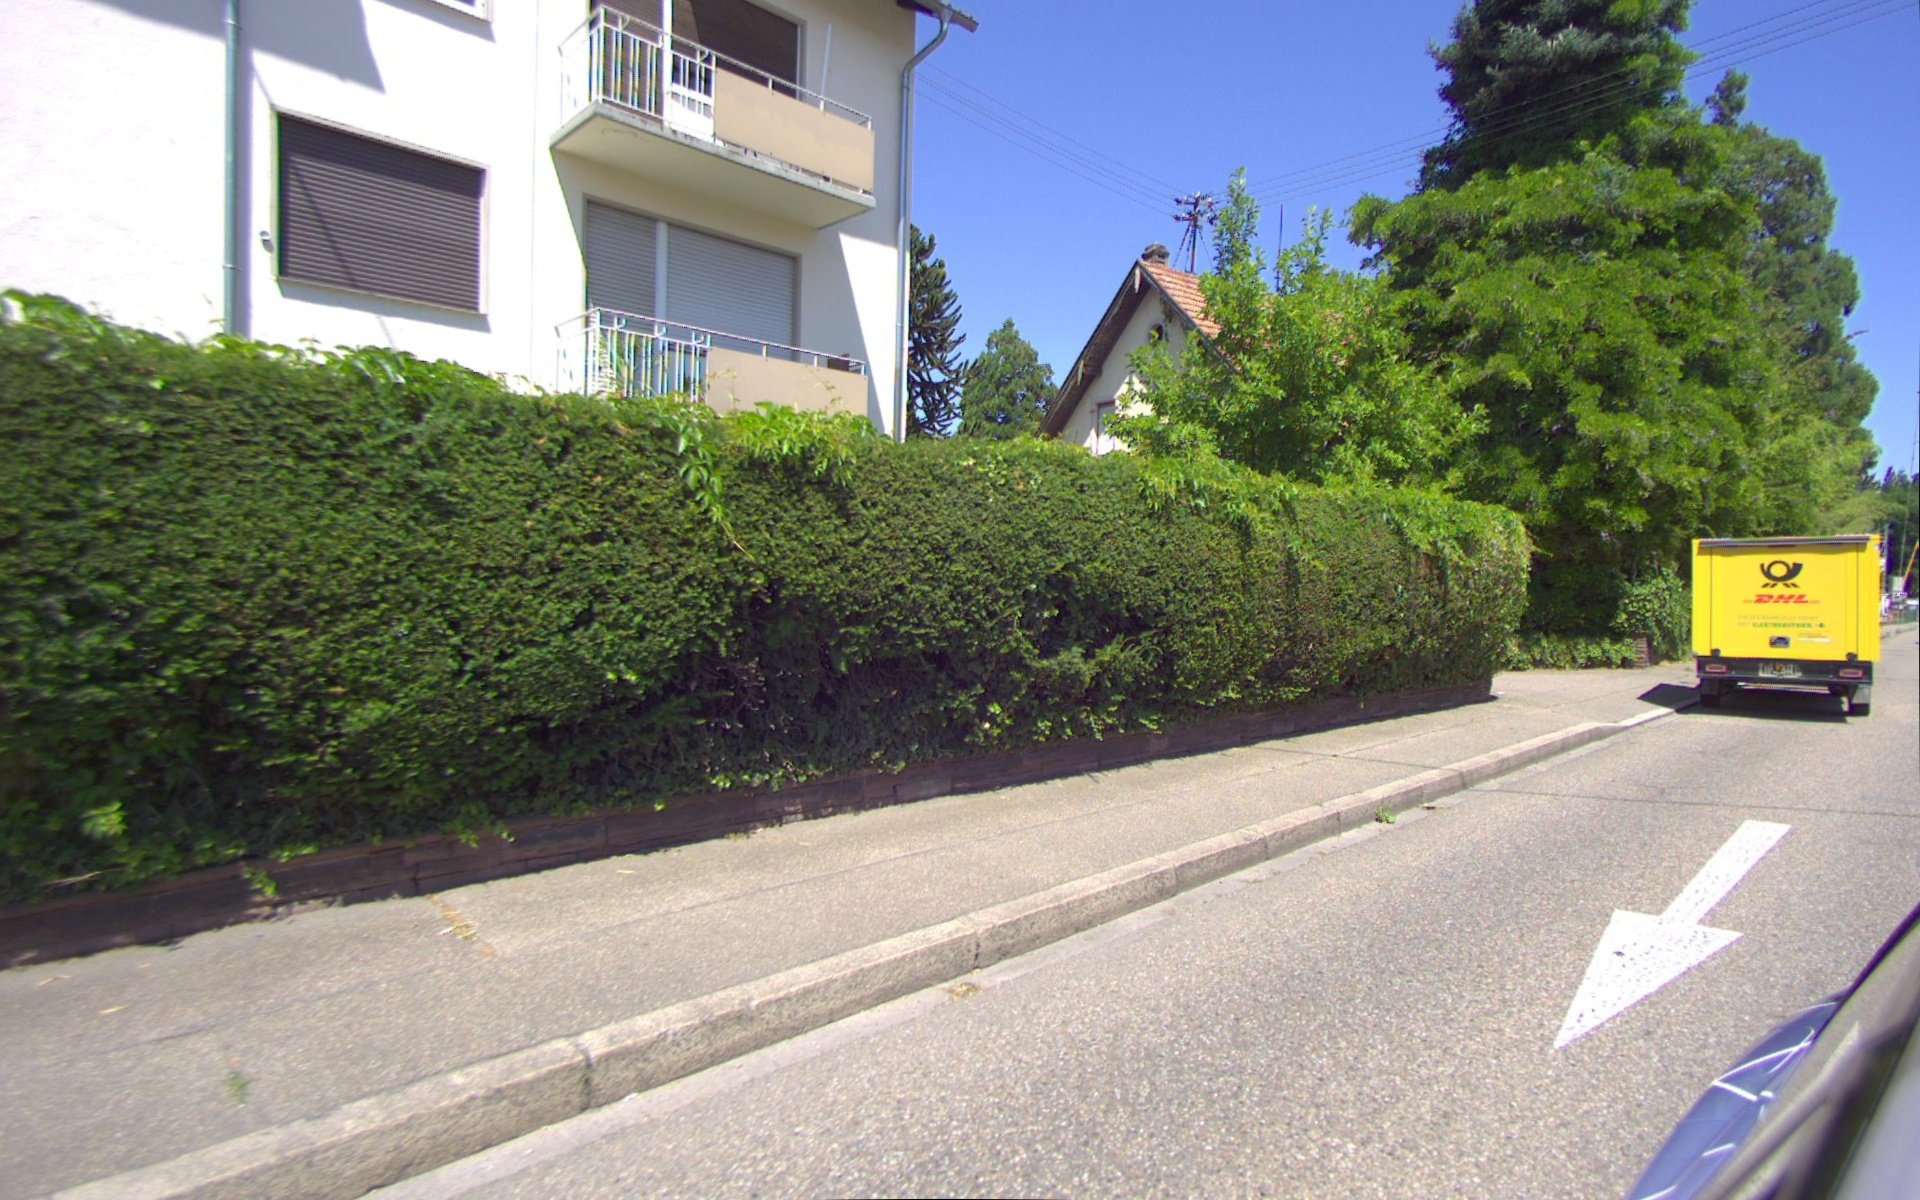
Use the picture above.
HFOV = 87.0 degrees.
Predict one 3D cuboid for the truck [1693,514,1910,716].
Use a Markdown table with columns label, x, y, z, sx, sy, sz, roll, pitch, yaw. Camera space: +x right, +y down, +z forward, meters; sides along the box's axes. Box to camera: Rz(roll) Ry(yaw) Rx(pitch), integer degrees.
| label | x | y | z | sx | sy | sz | roll | pitch | yaw |
| --- | --- | --- | --- | --- | --- | --- | --- | --- | --- |
| truck | 12.166 | 0.186 | 14.719 | 2.010 | 2.338 | 6.086 | -1 | -1 | 40 |
